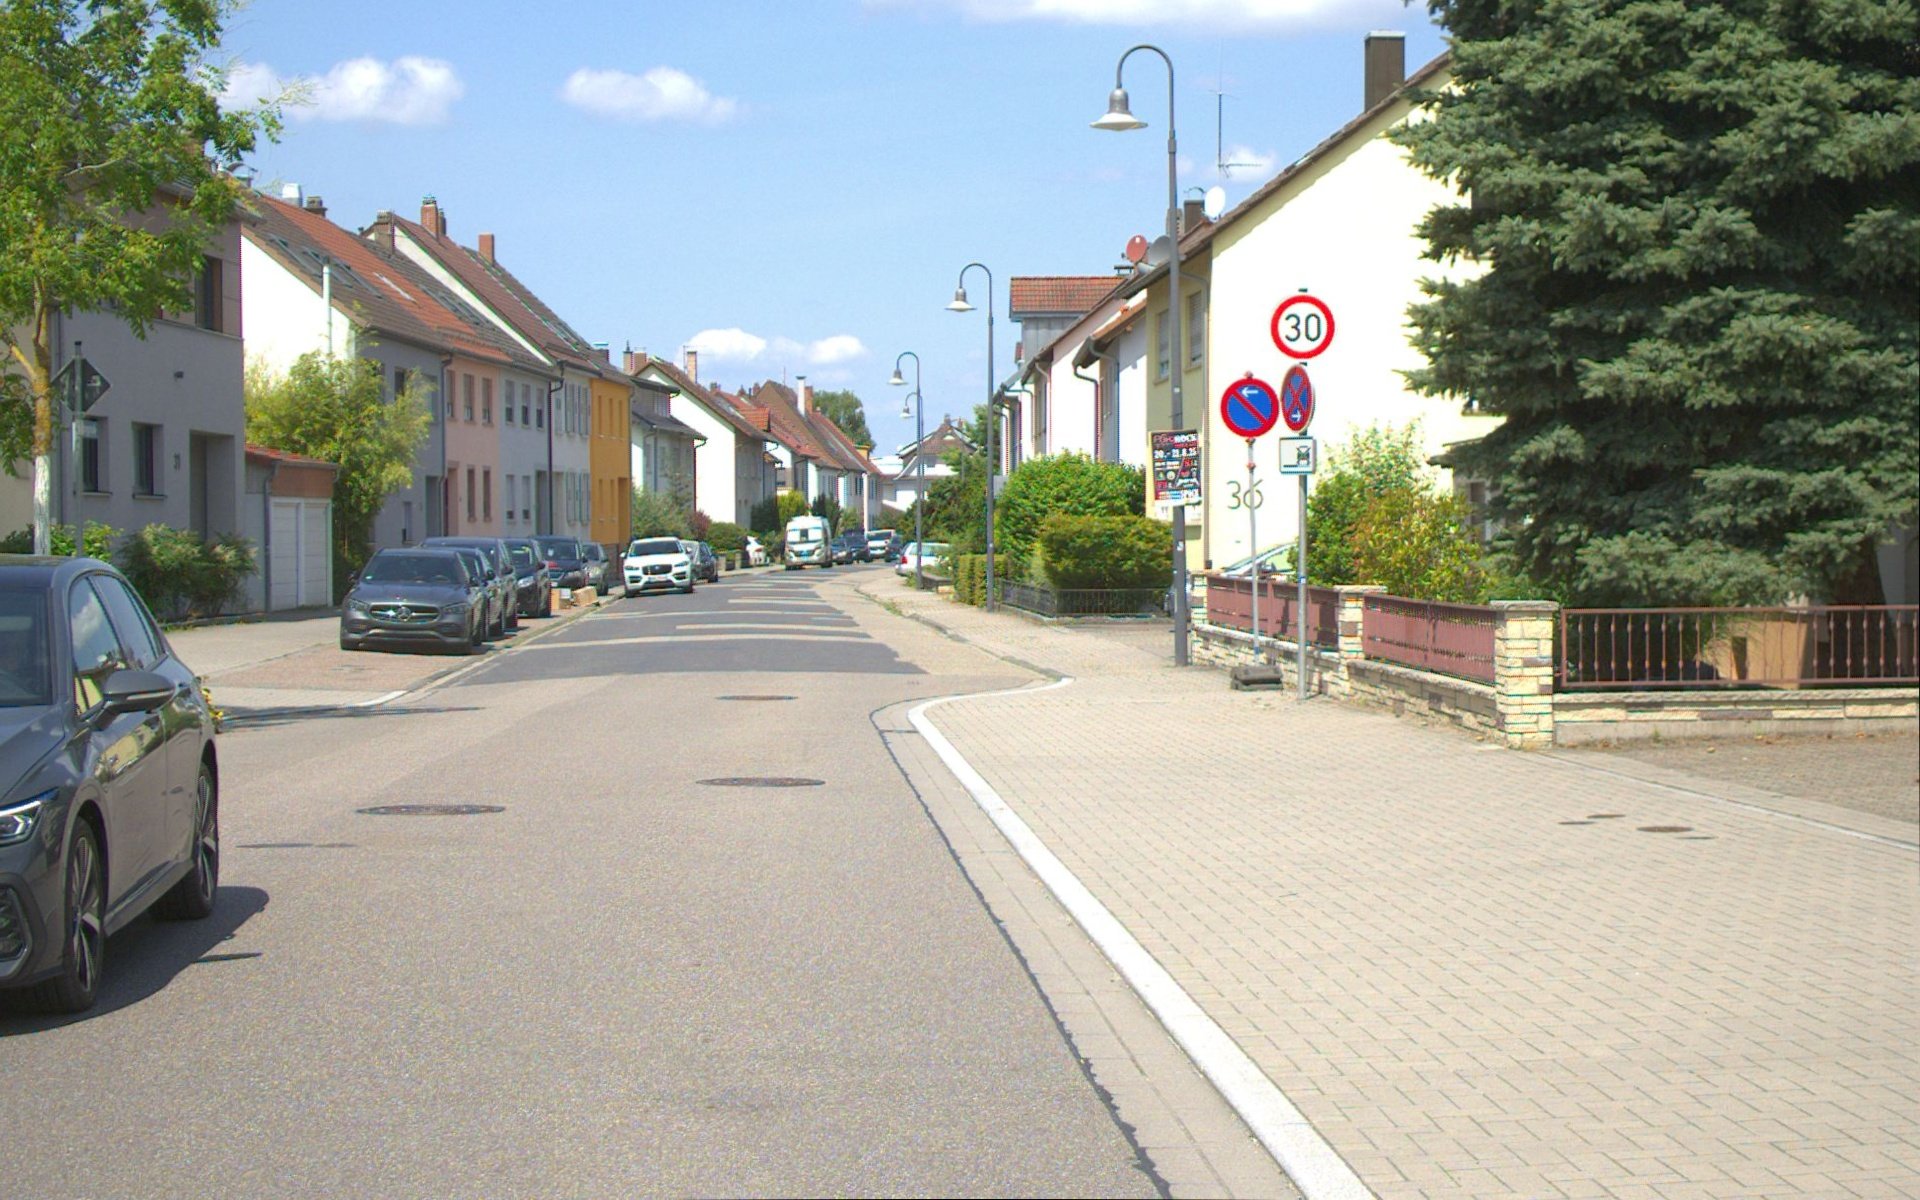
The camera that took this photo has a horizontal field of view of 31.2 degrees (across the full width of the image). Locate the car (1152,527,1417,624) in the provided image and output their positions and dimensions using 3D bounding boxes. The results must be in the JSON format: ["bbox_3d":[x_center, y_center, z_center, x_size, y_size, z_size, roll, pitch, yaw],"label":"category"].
[{"bbox_3d":[5.136,-0.402,54.726,3.986,1.468,1.746,-1,1,-2],"label":"car"}]

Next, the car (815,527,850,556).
[{"bbox_3d":[-7.057,-3.238,190.589,1.691,1.498,3.771,1,0,1],"label":"car"}]

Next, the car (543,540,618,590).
[{"bbox_3d":[-10.754,-0.999,97.498,1.672,1.331,3.722,2,1,0],"label":"car"}]

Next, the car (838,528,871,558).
[{"bbox_3d":[-6.086,-3.281,198.106,1.691,1.654,3.771,1,0,1],"label":"car"}]

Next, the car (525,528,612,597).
[{"bbox_3d":[-9.684,-0.944,85.356,1.810,1.603,4.000,2,1,-2],"label":"car"}]

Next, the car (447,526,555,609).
[{"bbox_3d":[-9.391,-0.680,70.574,1.779,1.603,4.000,2,1,-2],"label":"car"}]

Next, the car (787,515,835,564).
[{"bbox_3d":[-7.282,-2.948,168.196,2.045,2.304,3.771,1,0,1],"label":"car"}]

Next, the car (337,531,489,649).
[{"bbox_3d":[-7.852,-0.180,49.638,1.816,1.428,4.140,3,2,-5],"label":"car"}]

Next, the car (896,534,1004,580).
[{"bbox_3d":[-0.349,-1.444,114.730,3.523,1.459,1.628,1,0,-2],"label":"car"}]

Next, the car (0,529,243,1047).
[{"bbox_3d":[-3.723,0.543,12.050,1.762,1.517,4.050,-2,1,-4],"label":"car"}]

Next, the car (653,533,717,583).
[{"bbox_3d":[-9.549,-1.463,119.557,1.850,1.653,4.000,2,1,0],"label":"car"}]

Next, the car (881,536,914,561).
[{"bbox_3d":[-3.472,-2.841,191.563,1.691,1.337,3.771,1,0,1],"label":"car"}]

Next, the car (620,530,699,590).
[{"bbox_3d":[-8.596,-1.154,98.560,1.850,1.653,4.000,2,1,0],"label":"car"}]
